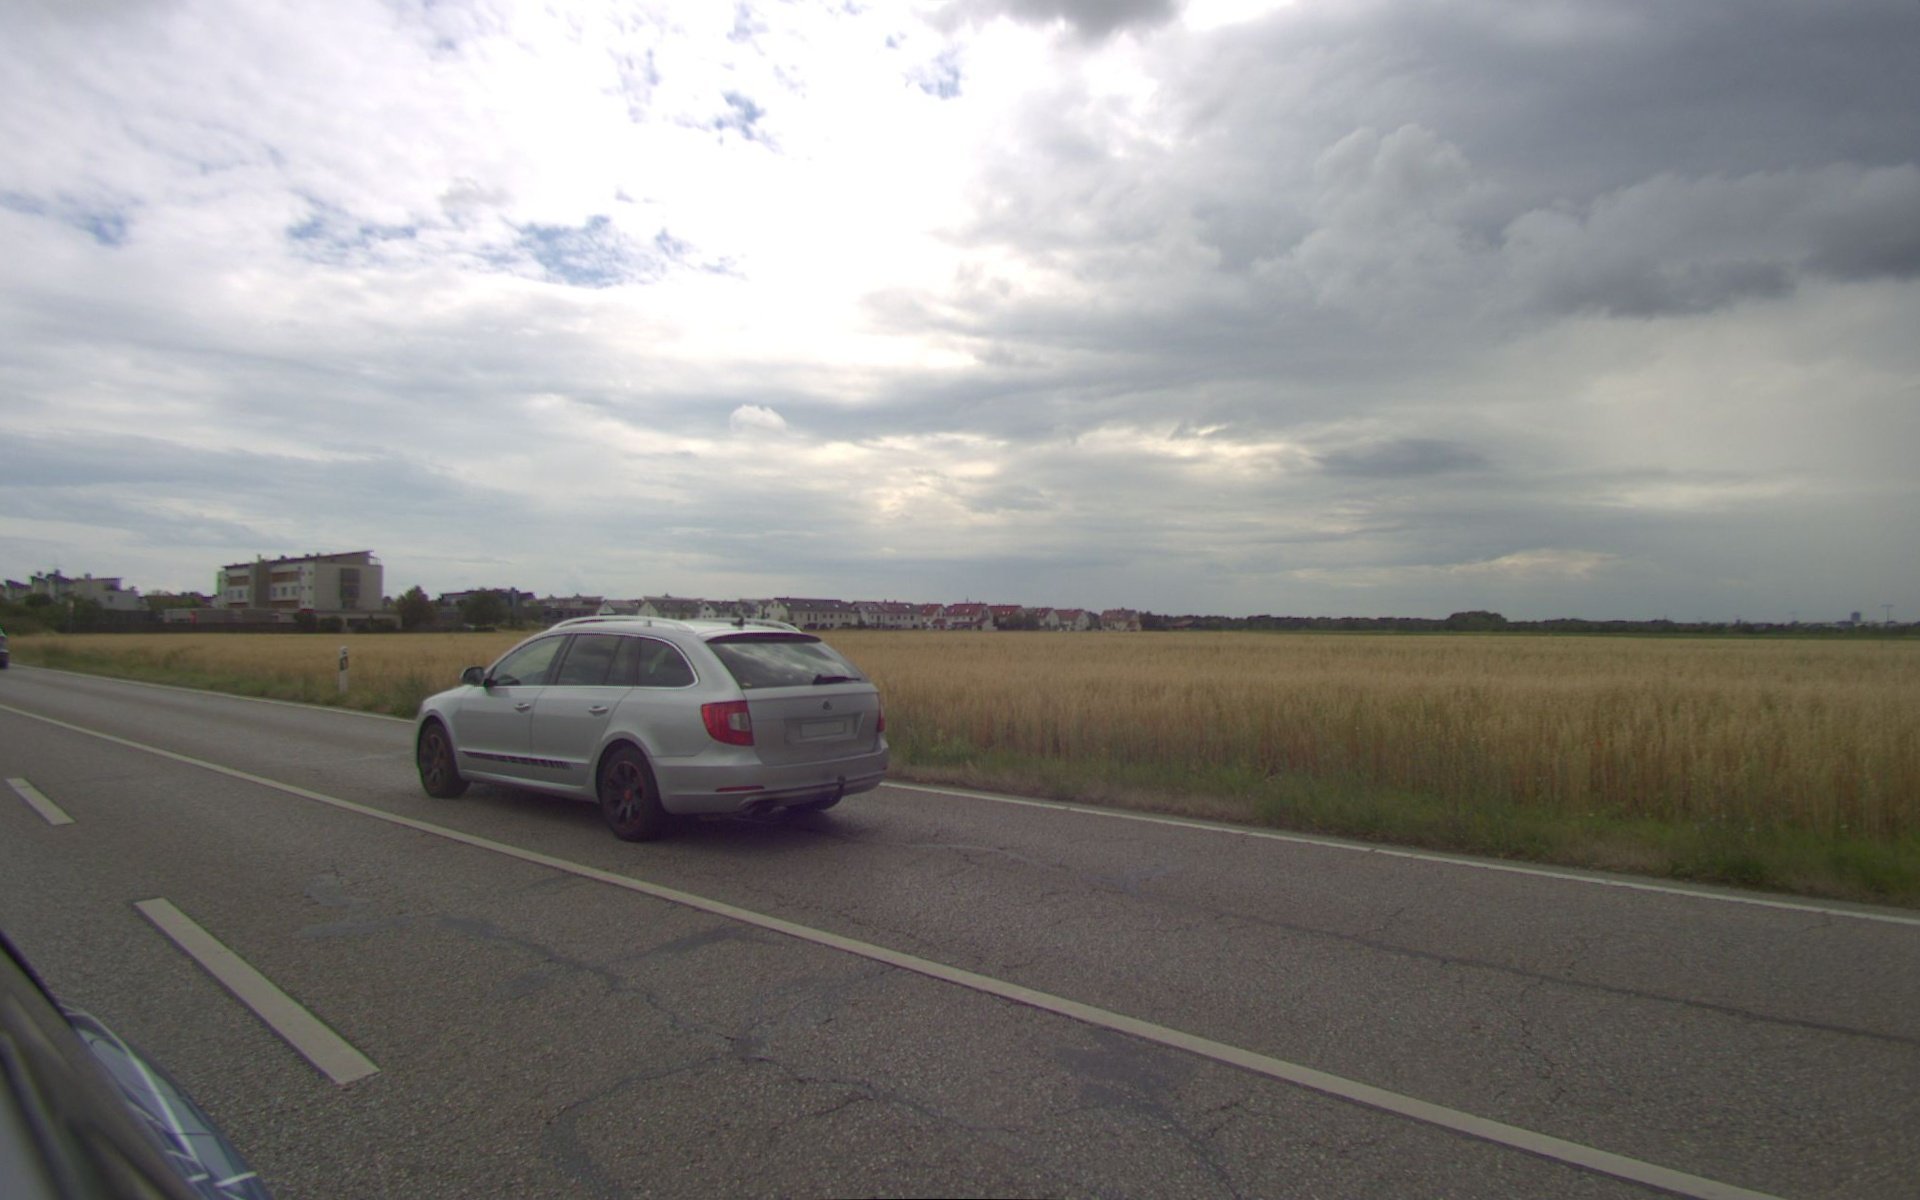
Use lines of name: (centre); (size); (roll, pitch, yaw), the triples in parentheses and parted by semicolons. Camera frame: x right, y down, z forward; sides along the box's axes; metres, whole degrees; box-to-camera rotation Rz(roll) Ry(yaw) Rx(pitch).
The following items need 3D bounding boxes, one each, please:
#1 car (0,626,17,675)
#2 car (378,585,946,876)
car: (-33.768, 1.672, 34.287); (4.762, 1.593, 2.043); (-1, -4, 40)
car: (-2.548, 0.783, 7.867); (4.924, 1.613, 1.749); (-1, -2, 39)
